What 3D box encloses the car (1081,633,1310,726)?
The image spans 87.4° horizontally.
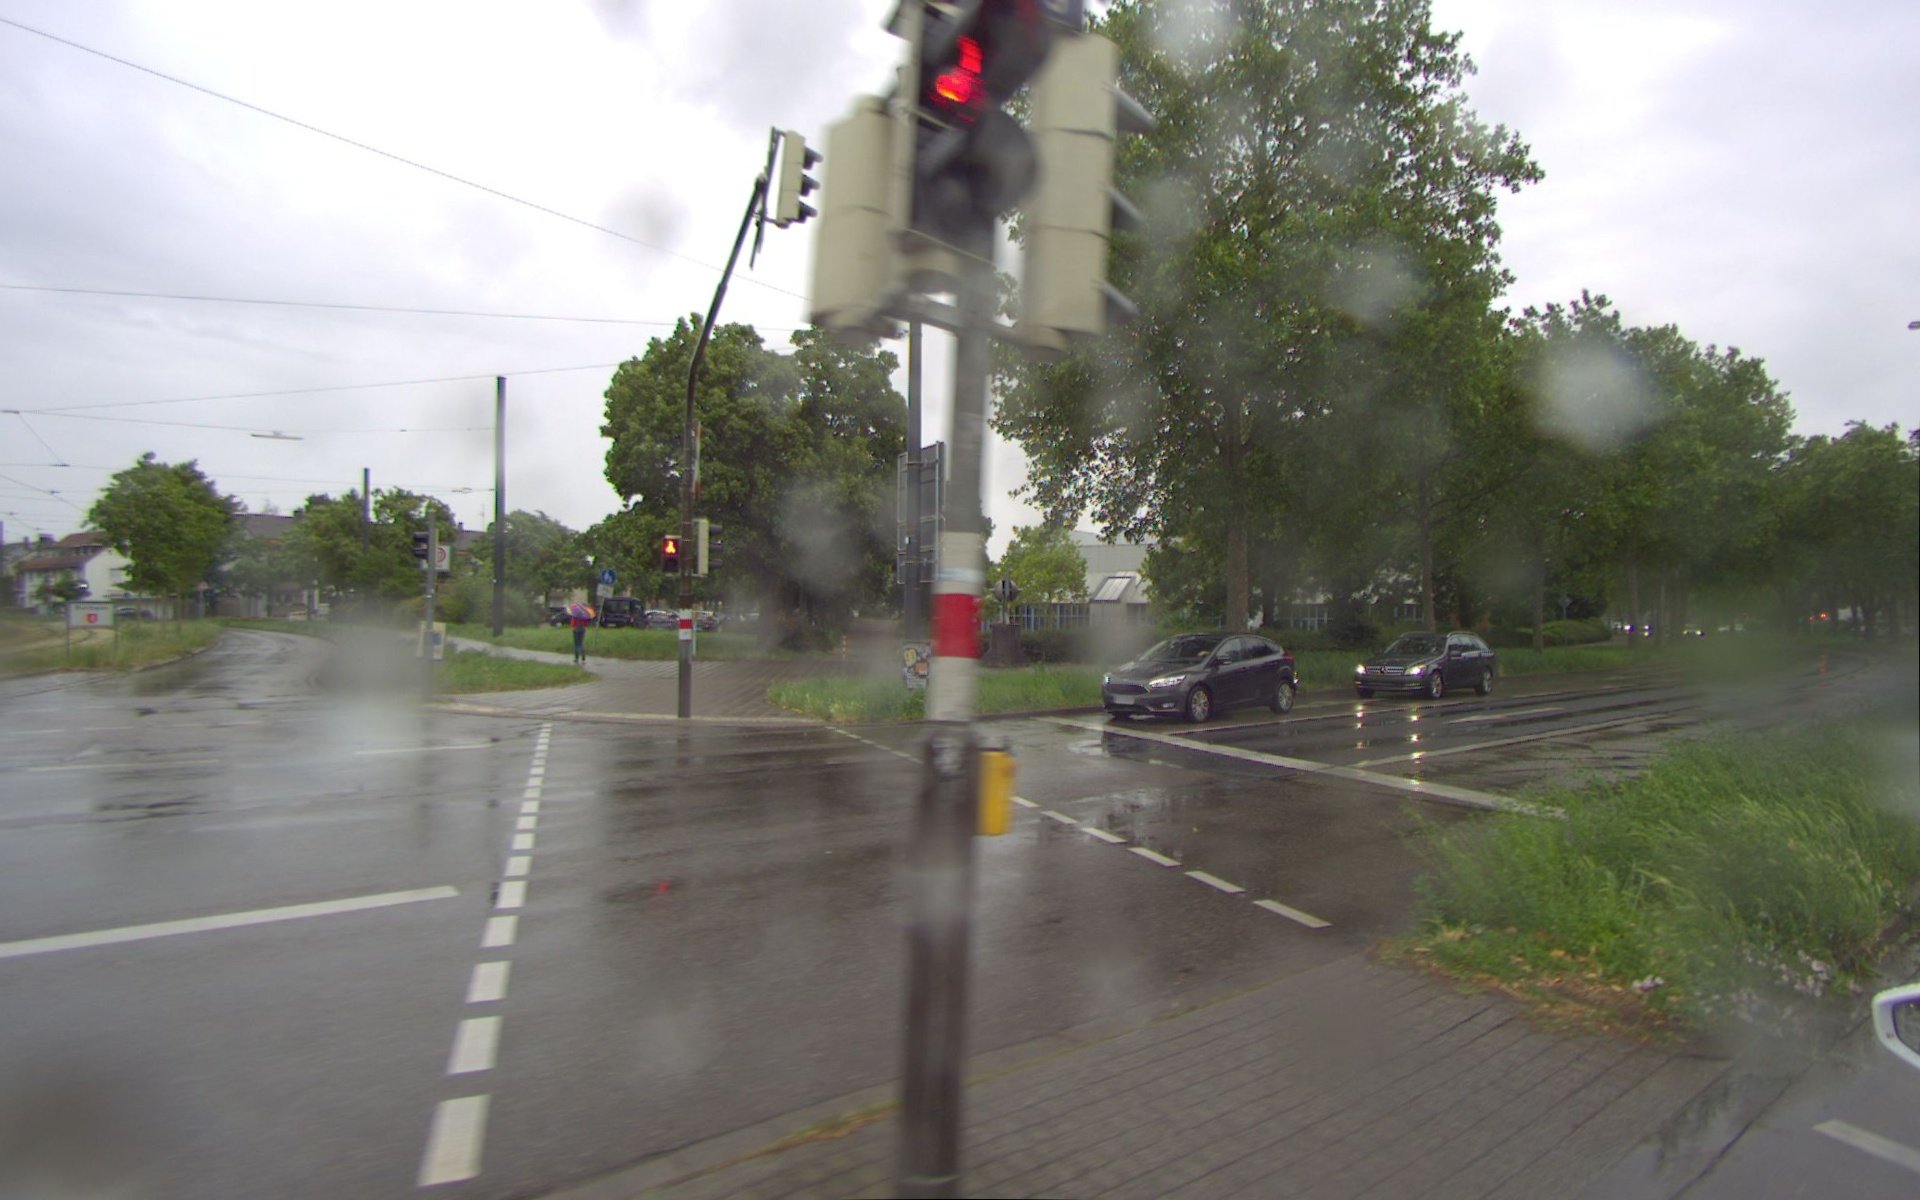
[{"bbox_3d":[4.184,1.319,17.511,4.282,1.420,1.783,2,-3,-42],"label":"car"}]

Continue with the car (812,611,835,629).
[{"bbox_3d":[-13.899,2.047,102.137,2.146,1.721,4.081,0,0,-9],"label":"car"}]

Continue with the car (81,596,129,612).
[{"bbox_3d":[-100.695,0.479,118.303,1.786,1.825,3.876,-1,0,28],"label":"car"}]

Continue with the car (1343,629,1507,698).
[{"bbox_3d":[10.877,1.462,23.357,4.425,1.425,1.784,3,-2,-41],"label":"car"}]

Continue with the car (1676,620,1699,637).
[{"bbox_3d":[90.815,3.551,125.366,1.952,2.040,3.991,0,0,30],"label":"car"}]

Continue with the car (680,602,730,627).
[{"bbox_3d":[-17.186,0.976,67.853,2.021,1.594,5.016,0,0,1],"label":"car"}]

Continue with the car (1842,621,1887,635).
[{"bbox_3d":[118.561,3.671,131.666,3.925,1.844,1.998,0,0,26],"label":"car"}]

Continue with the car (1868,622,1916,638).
[{"bbox_3d":[114.587,3.695,123.501,3.925,1.844,1.998,0,0,26],"label":"car"}]

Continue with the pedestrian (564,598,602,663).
[{"bbox_3d":[-12.058,0.956,32.115,0.943,2.017,0.999,-1,0,-32],"label":"pedestrian"}]

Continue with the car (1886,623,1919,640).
[{"bbox_3d":[112.133,3.700,118.413,3.923,1.856,1.999,0,0,23],"label":"car"}]

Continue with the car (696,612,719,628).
[{"bbox_3d":[-26.745,2.073,106.394,1.782,1.639,3.916,0,0,-5],"label":"car"}]

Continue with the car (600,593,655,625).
[{"bbox_3d":[-22.028,0.582,66.739,2.268,2.040,5.114,0,0,-4],"label":"car"}]

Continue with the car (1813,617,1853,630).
[{"bbox_3d":[126.057,3.435,145.080,3.925,1.844,1.998,0,0,26],"label":"car"}]

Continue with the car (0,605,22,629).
[{"bbox_3d":[-60.171,1.041,61.365,4.010,1.439,1.657,0,0,-39],"label":"car"}]

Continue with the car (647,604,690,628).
[{"bbox_3d":[-19.601,1.041,67.706,1.723,1.551,4.846,0,0,-4],"label":"car"}]
